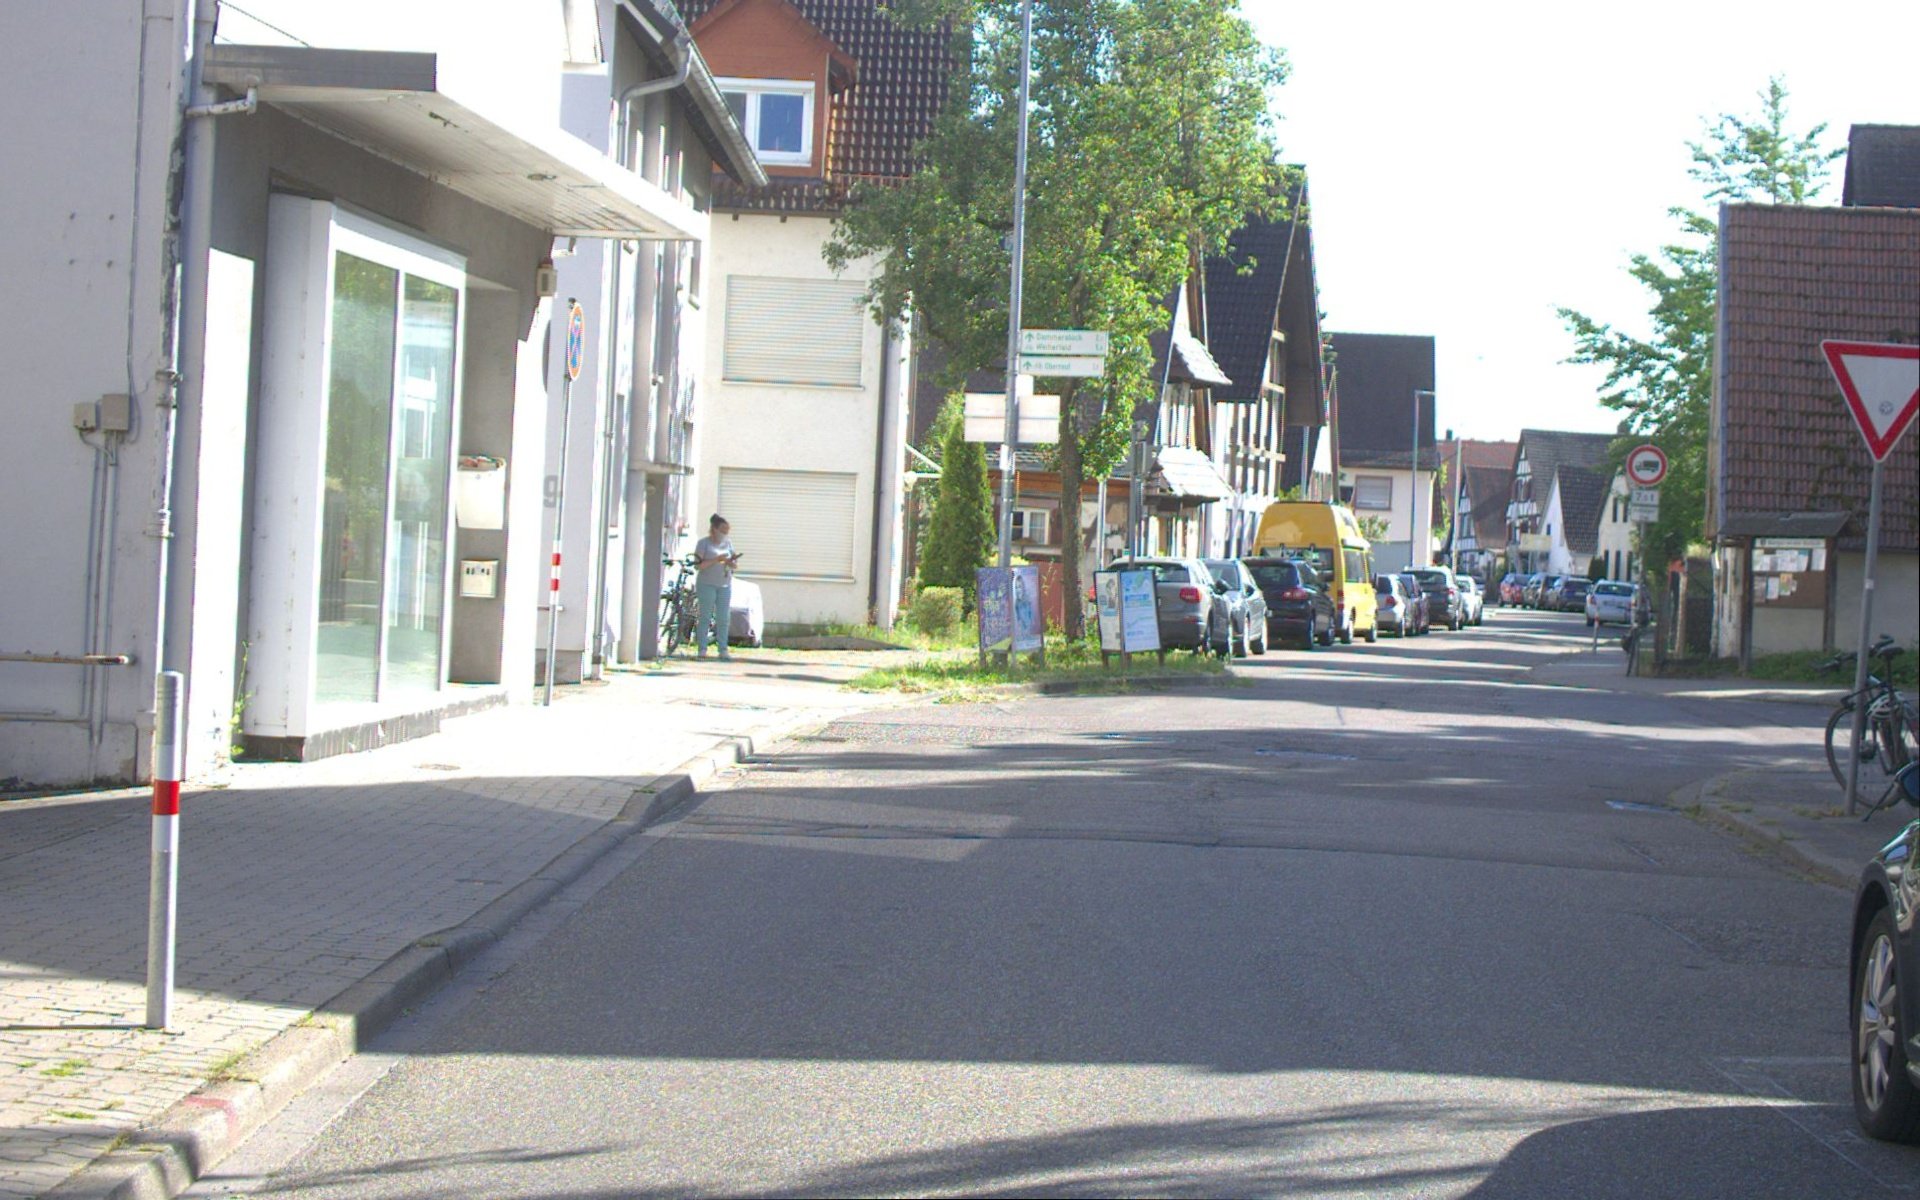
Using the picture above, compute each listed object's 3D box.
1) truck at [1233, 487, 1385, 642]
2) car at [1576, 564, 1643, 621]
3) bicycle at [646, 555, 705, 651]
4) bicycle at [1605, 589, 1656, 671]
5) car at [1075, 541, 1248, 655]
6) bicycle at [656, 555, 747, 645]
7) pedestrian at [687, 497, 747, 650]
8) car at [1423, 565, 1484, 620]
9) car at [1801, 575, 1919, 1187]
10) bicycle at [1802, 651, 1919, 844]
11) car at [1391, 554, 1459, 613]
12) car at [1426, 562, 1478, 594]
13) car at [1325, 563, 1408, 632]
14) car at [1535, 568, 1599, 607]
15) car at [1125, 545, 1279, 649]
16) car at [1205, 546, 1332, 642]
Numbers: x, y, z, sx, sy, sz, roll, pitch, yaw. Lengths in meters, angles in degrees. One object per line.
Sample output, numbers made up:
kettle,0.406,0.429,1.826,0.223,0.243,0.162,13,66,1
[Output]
truck,7.029,-0.684,68.674,2.269,2.858,5.779,3,0,12
car,21.432,-0.258,113.600,1.974,1.708,3.993,3,1,9
bicycle,-3.194,0.037,38.713,0.423,1.049,1.381,3,0,4
bicycle,9.936,0.431,50.919,0.434,1.172,1.827,3,1,19
car,2.993,-0.026,50.306,1.868,1.500,4.105,3,0,12
bicycle,-3.158,0.013,42.133,0.578,1.049,2.035,3,0,10
pedestrian,-2.746,-0.291,38.844,0.483,1.687,0.556,3,-1,7
car,14.006,-0.216,97.532,1.589,1.438,3.613,3,1,9
car,3.186,0.746,7.505,1.807,1.431,4.285,3,2,3
bicycle,5.685,0.887,21.210,0.435,1.076,1.890,2,1,-1
car,12.223,-0.436,90.224,1.589,1.438,3.613,3,1,9
car,26.062,-1.184,182.178,1.973,1.577,3.995,3,1,-2
car,9.195,-0.078,77.534,1.646,1.428,3.613,3,1,9
car,27.516,-0.569,155.907,1.973,1.577,3.995,3,1,-2
car,3.883,-0.048,54.605,1.807,1.500,4.105,3,0,12
car,5.713,-0.102,63.345,1.807,1.616,3.878,3,0,12
